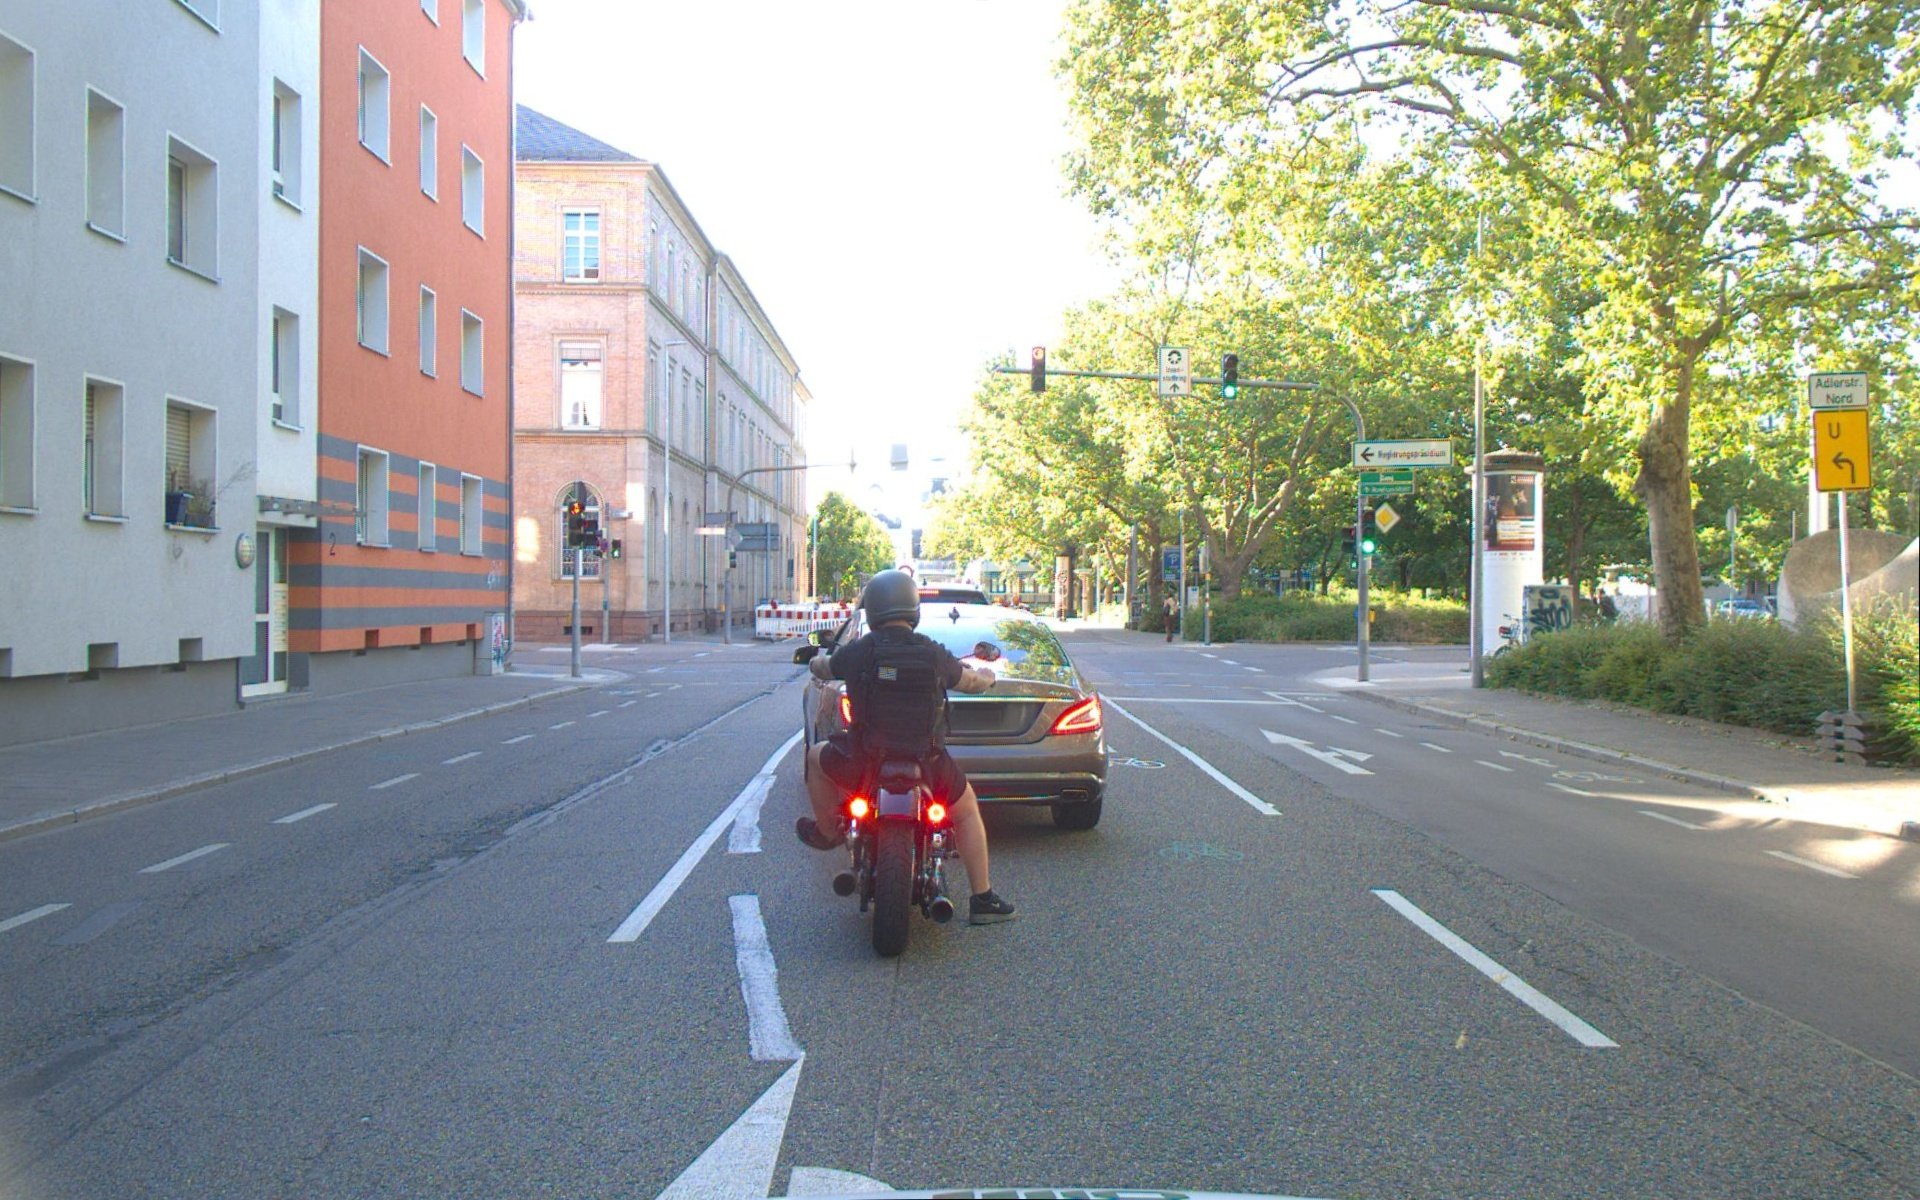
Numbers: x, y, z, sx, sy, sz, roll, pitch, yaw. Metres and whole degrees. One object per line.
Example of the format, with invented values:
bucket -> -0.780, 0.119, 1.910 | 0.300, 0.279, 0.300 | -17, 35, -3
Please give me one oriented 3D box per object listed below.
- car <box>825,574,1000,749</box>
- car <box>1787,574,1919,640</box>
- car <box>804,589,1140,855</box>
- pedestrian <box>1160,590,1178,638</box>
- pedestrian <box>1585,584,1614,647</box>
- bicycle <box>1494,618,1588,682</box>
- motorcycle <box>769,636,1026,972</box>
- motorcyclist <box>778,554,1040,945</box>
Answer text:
car -> -0.515, 0.580, 17.546 | 1.647, 1.653, 3.839 | 0, 0, -2
car -> 25.757, 0.185, 46.589 | 3.912, 1.815, 2.001 | 0, 0, 4
car -> -0.123, 0.686, 11.623 | 1.787, 1.502, 4.346 | 0, 0, -7
pedestrian -> 7.392, 0.495, 58.416 | 0.548, 1.707, 0.564 | 0, 0, -1
pedestrian -> 18.724, 0.454, 48.424 | 0.607, 1.815, 0.630 | 0, 0, 1
bicycle -> 9.693, 0.833, 27.605 | 1.387, 1.055, 0.538 | 0, 0, -5
motorcycle -> -0.260, 0.817, 7.720 | 0.987, 1.225, 2.664 | 0, 0, -1
motorcyclist -> -0.222, 0.627, 7.554 | 1.090, 1.641, 1.202 | 0, 0, -1
